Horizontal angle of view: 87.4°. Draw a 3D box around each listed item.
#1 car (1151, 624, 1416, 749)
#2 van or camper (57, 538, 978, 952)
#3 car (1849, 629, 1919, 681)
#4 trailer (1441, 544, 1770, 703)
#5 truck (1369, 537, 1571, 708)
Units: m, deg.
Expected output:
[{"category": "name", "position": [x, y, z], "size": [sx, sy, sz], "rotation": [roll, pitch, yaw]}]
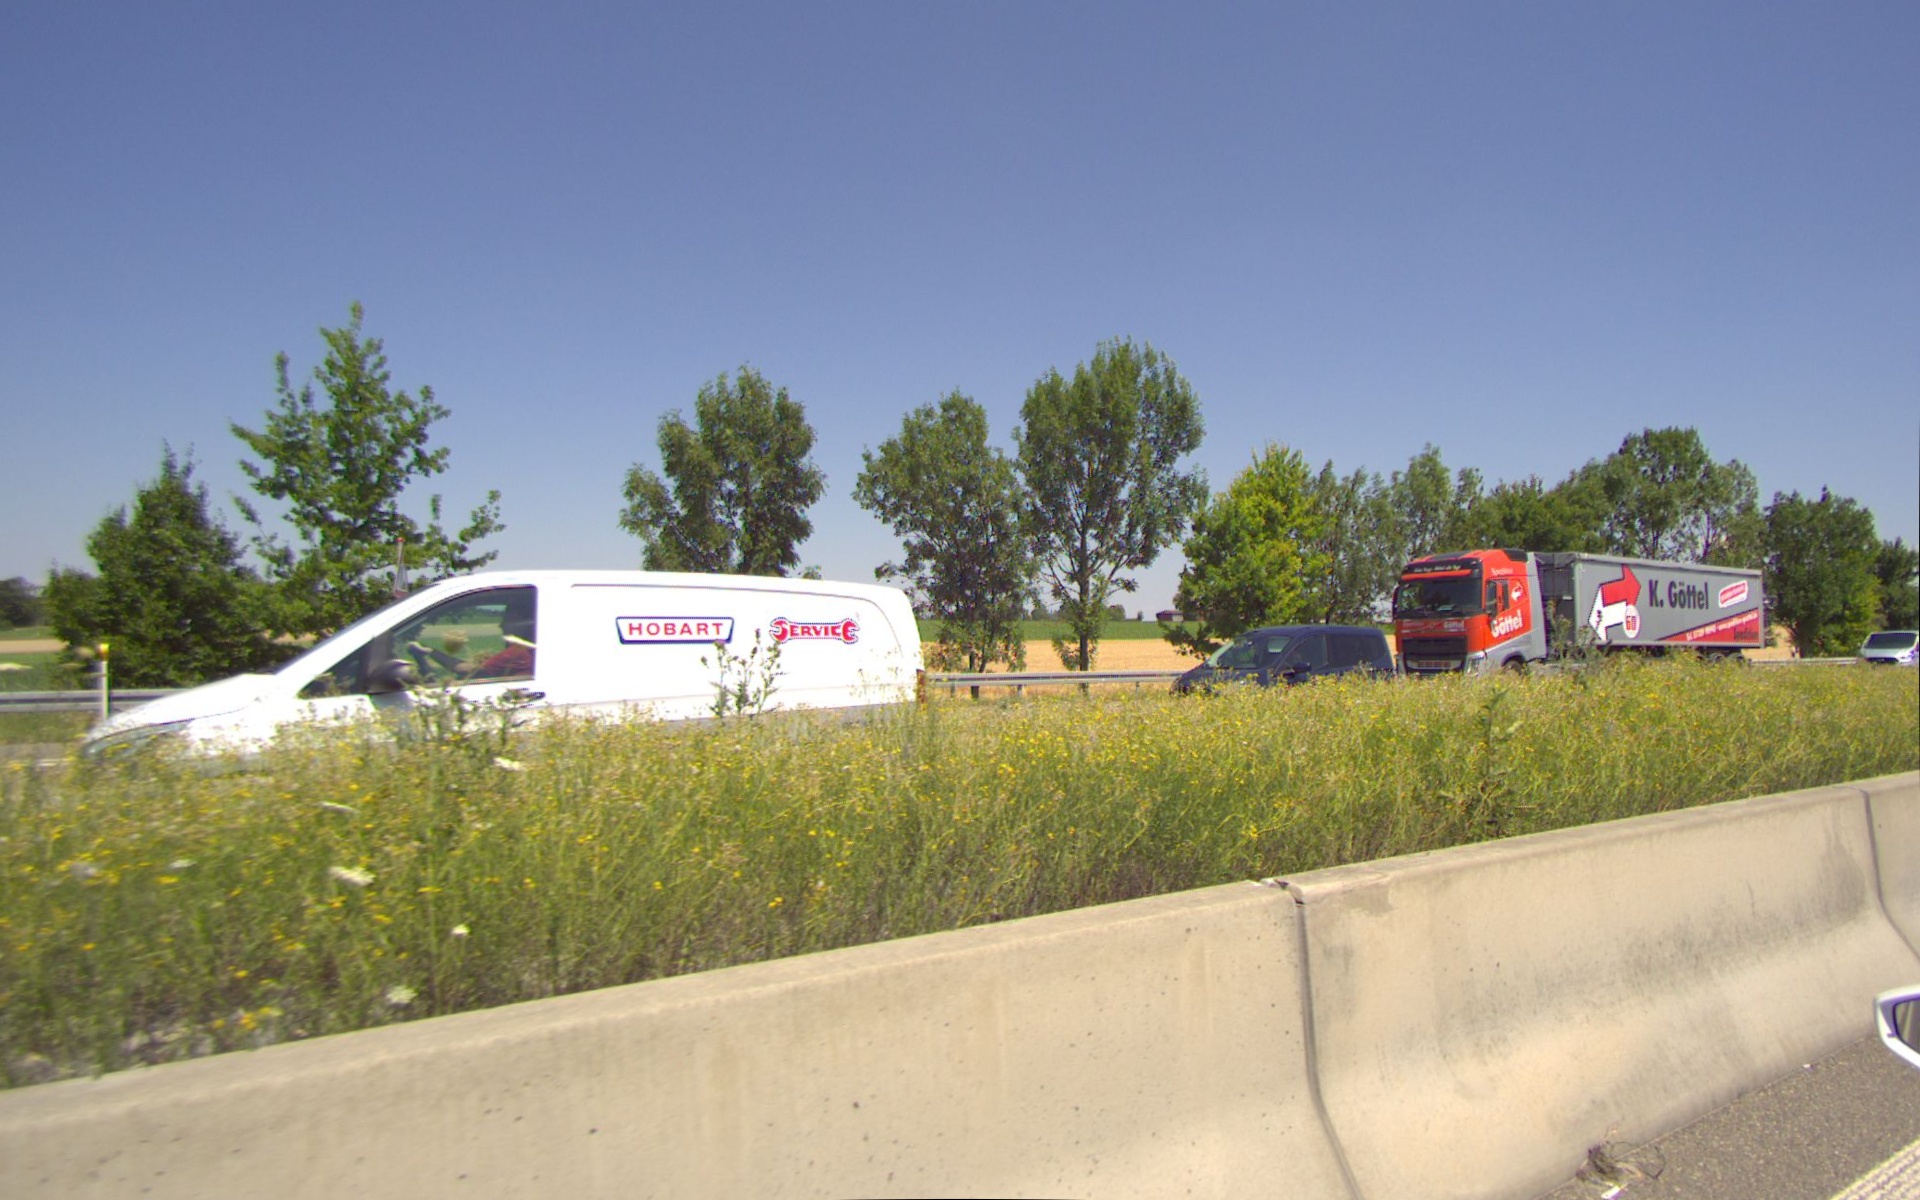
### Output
[{"category": "car", "position": [5.196, 1.278, 15.956], "size": [4.213, 1.750, 1.685], "rotation": [1, -2, -31]}, {"category": "van or camper", "position": [-2.568, 0.756, 6.963], "size": [5.143, 1.958, 1.983], "rotation": [1, -2, -31]}, {"category": "car", "position": [38.180, 2.206, 40.745], "size": [5.060, 1.978, 1.753], "rotation": [1, -3, -32]}, {"category": "trailer", "position": [18.861, 0.754, 28.884], "size": [12.044, 3.905, 2.842], "rotation": [1, -3, -31]}, {"category": "truck", "position": [12.820, 0.608, 25.289], "size": [3.953, 3.905, 2.843], "rotation": [1, -2, -30]}]
